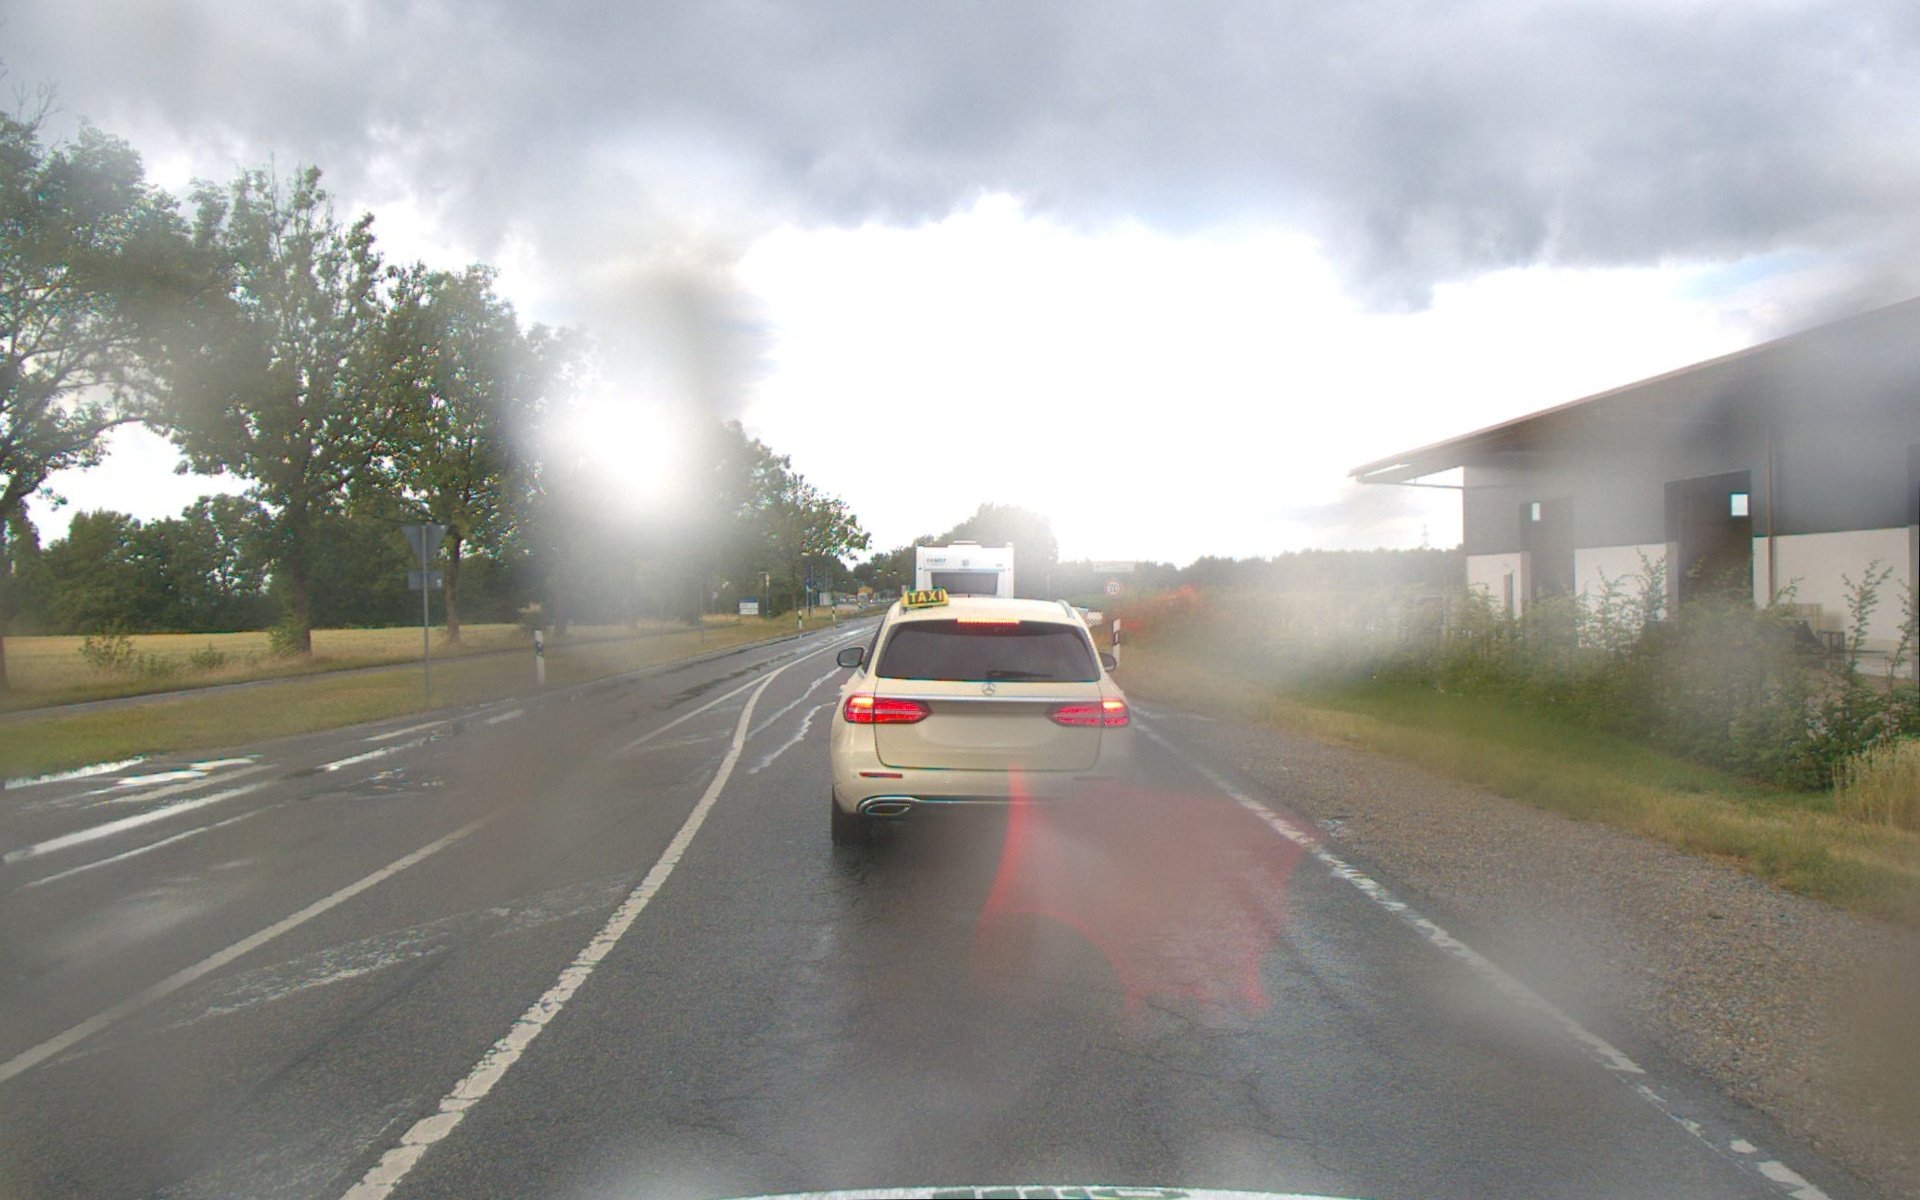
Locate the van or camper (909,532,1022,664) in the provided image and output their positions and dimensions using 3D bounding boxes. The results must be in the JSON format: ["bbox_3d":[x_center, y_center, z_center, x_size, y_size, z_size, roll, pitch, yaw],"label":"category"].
[{"bbox_3d":[0.139,-0.052,40.014,2.446,2.880,5.934,-2,0,0],"label":"van or camper"}]

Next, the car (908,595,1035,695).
[{"bbox_3d":[0.140,0.653,26.236,1.856,1.454,3.927,0,0,-1],"label":"car"}]

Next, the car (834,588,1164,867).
[{"bbox_3d":[0.210,0.672,10.839,1.760,1.490,4.030,0,0,0],"label":"car"}]
